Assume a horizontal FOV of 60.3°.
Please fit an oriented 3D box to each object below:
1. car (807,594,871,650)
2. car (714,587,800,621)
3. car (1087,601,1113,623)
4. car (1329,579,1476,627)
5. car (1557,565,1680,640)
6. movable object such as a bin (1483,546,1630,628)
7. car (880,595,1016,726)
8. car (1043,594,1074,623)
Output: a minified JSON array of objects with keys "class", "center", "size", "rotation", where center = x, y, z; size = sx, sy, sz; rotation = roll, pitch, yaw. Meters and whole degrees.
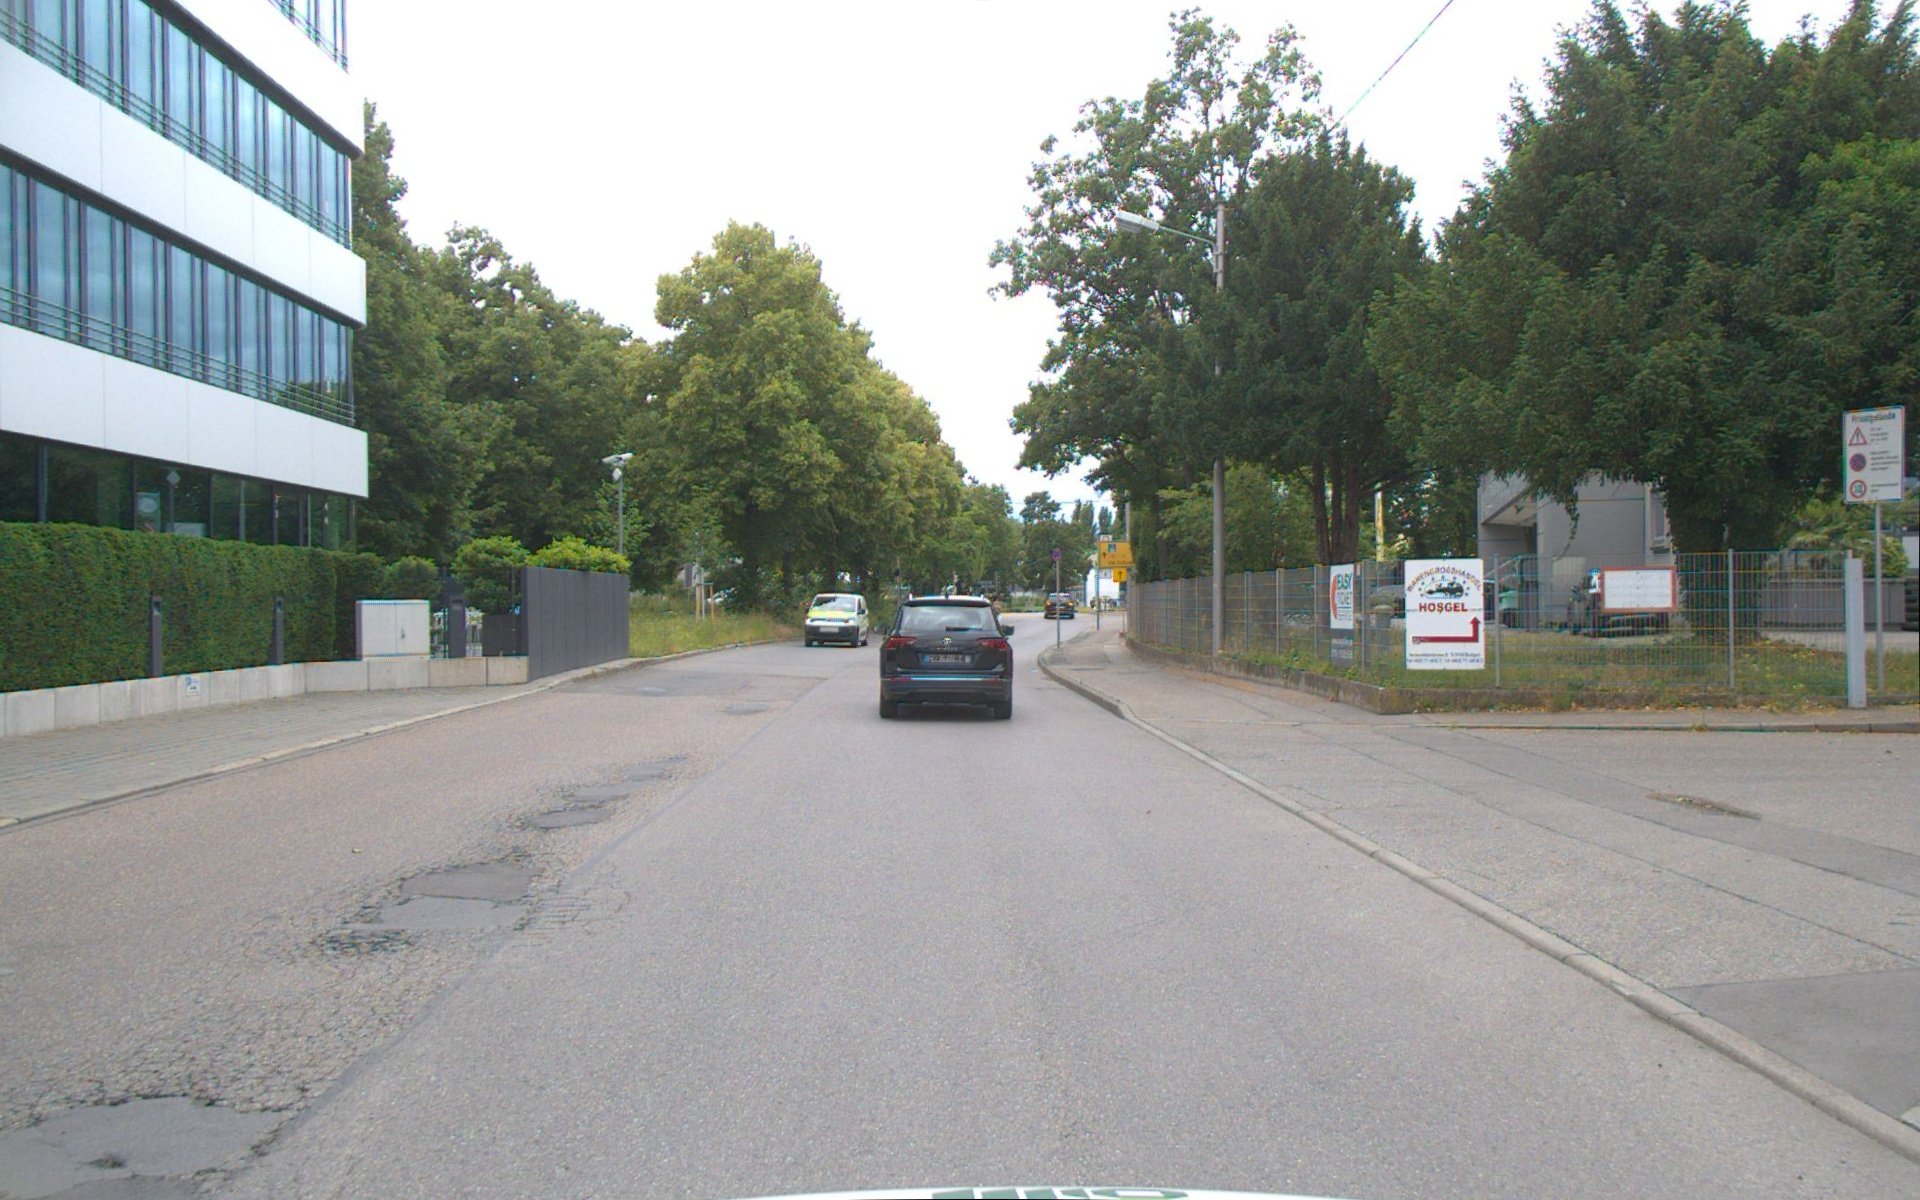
[{"class":"car","center":[-4.065,0.727,56.059],"size":[1.770,1.795,4.206],"rotation":[0,0,1]},{"class":"car","center":[-14.955,0.285,122.050],"size":[5.945,2.429,2.395],"rotation":[-1,0,1]},{"class":"car","center":[12.120,1.041,142.724],"size":[1.951,1.818,4.003],"rotation":[0,0,8]},{"class":"car","center":[15.385,0.120,57.646],"size":[1.983,1.500,4.620],"rotation":[-1,-1,-42]},{"class":"car","center":[15.988,0.023,40.403],"size":[1.951,1.594,4.446],"rotation":[-4,0,12]},{"class":"movable object such as a bin","center":[18.225,-0.384,50.694],"size":[3.902,2.346,1.954],"rotation":[-2,0,11]},{"class":"car","center":[-0.122,0.796,22.950],"size":[1.703,1.646,3.641],"rotation":[1,-1,1]},{"class":"car","center":[5.839,0.499,98.460],"size":[1.625,1.602,3.829],"rotation":[-2,0,1]}]
